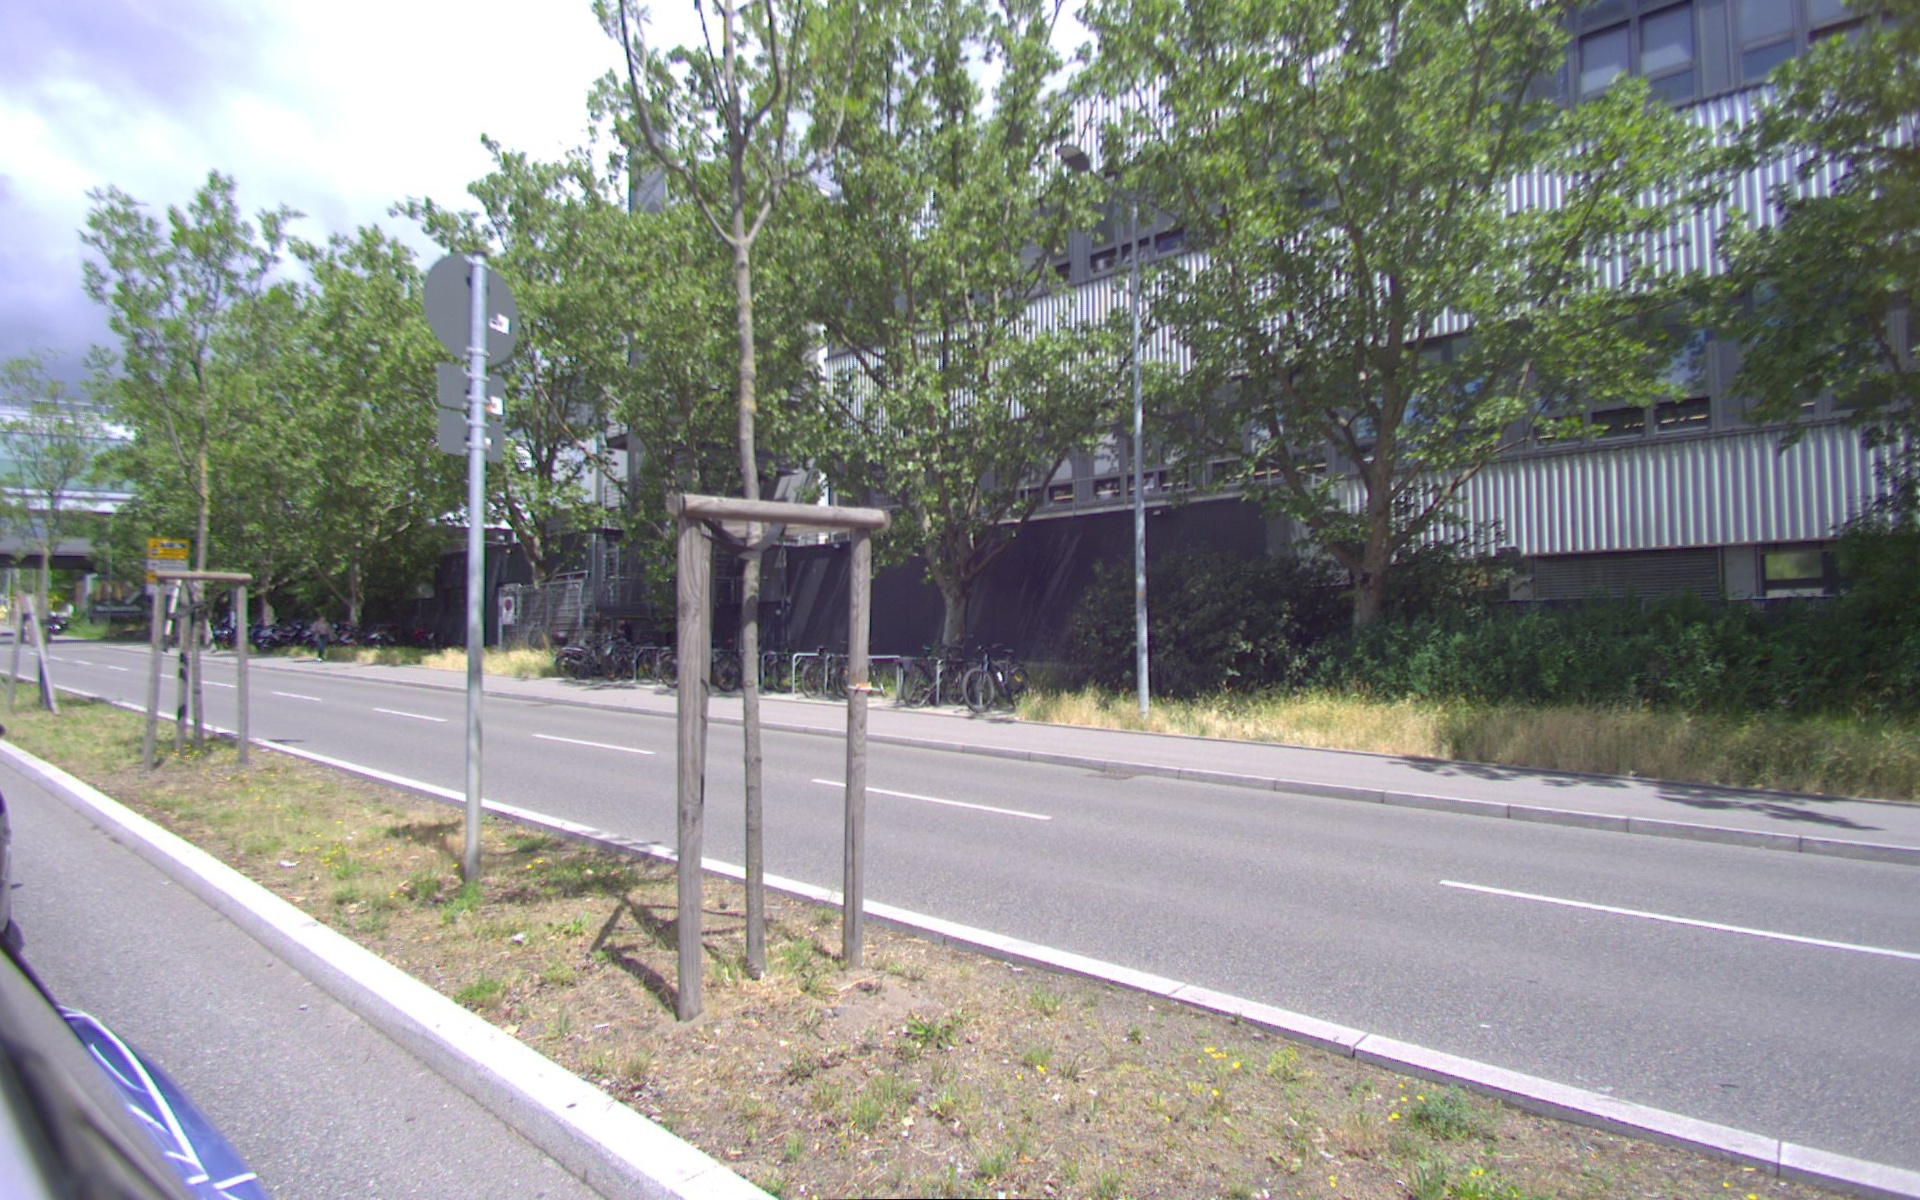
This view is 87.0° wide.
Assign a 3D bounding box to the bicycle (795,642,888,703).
[{"bbox_3d":[-2.350,1.430,20.239,0.382,1.104,2.101,-2,-1,43],"label":"bicycle"}]

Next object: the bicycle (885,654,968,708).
[{"bbox_3d":[-0.607,1.516,19.232,0.381,0.897,1.968,-2,-1,39],"label":"bicycle"}]

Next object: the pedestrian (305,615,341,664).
[{"bbox_3d":[-22.736,1.402,36.123,0.672,1.734,0.888,-2,-2,41],"label":"pedestrian"}]

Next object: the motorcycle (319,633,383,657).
[{"bbox_3d":[-23.950,1.758,39.850,0.534,0.905,2.105,-2,-1,41],"label":"motorcycle"}]

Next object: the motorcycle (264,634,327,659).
[{"bbox_3d":[-27.085,1.892,41.296,0.534,0.976,2.105,-2,-1,41],"label":"motorcycle"}]

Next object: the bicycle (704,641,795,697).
[{"bbox_3d":[-4.553,1.474,22.028,0.382,1.119,2.101,-2,-1,43],"label":"bicycle"}]

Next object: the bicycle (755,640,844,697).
[{"bbox_3d":[-3.422,1.452,21.762,0.382,1.119,2.101,-2,-1,43],"label":"bicycle"}]

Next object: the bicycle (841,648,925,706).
[{"bbox_3d":[-1.479,1.472,19.718,0.381,1.005,1.968,-2,-1,39],"label":"bicycle"}]

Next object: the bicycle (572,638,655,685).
[{"bbox_3d":[-8.914,1.566,26.097,0.382,1.119,2.101,-2,-1,43],"label":"bicycle"}]

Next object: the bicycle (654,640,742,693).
[{"bbox_3d":[-6.000,1.495,23.275,0.382,1.119,2.101,-2,-1,43],"label":"bicycle"}]

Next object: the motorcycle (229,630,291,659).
[{"bbox_3d":[-29.877,1.887,43.210,0.534,1.146,2.105,-2,-1,41],"label":"motorcycle"}]

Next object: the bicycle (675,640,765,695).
[{"bbox_3d":[-5.343,1.484,22.678,0.382,1.119,2.101,-2,-1,43],"label":"bicycle"}]

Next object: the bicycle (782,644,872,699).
[{"bbox_3d":[-2.753,1.475,21.147,0.382,1.038,2.101,-2,-1,43],"label":"bicycle"}]

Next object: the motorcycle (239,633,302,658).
[{"bbox_3d":[-28.793,1.908,42.269,0.534,0.976,2.105,-2,-1,41],"label":"motorcycle"}]

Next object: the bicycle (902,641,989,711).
[{"bbox_3d":[-0.229,1.331,18.131,0.381,1.137,1.968,-2,-1,39],"label":"bicycle"}]

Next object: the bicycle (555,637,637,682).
[{"bbox_3d":[-9.556,1.546,26.643,0.382,1.119,2.101,-2,-1,43],"label":"bicycle"}]

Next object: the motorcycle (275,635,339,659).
[{"bbox_3d":[-26.260,1.873,40.743,0.534,0.892,2.105,-2,-1,41],"label":"motorcycle"}]

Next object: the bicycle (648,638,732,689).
[{"bbox_3d":[-6.490,1.506,24.425,0.382,1.119,2.101,-2,-1,43],"label":"bicycle"}]

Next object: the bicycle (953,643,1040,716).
[{"bbox_3d":[0.650,1.335,17.408,0.381,1.137,1.968,-2,-1,39],"label":"bicycle"}]

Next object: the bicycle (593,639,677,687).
[{"bbox_3d":[-8.170,1.561,25.549,0.382,1.119,2.101,-2,-1,43],"label":"bicycle"}]

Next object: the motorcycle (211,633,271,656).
[{"bbox_3d":[-31.947,1.961,44.976,0.534,0.976,2.105,-2,-1,41],"label":"motorcycle"}]
